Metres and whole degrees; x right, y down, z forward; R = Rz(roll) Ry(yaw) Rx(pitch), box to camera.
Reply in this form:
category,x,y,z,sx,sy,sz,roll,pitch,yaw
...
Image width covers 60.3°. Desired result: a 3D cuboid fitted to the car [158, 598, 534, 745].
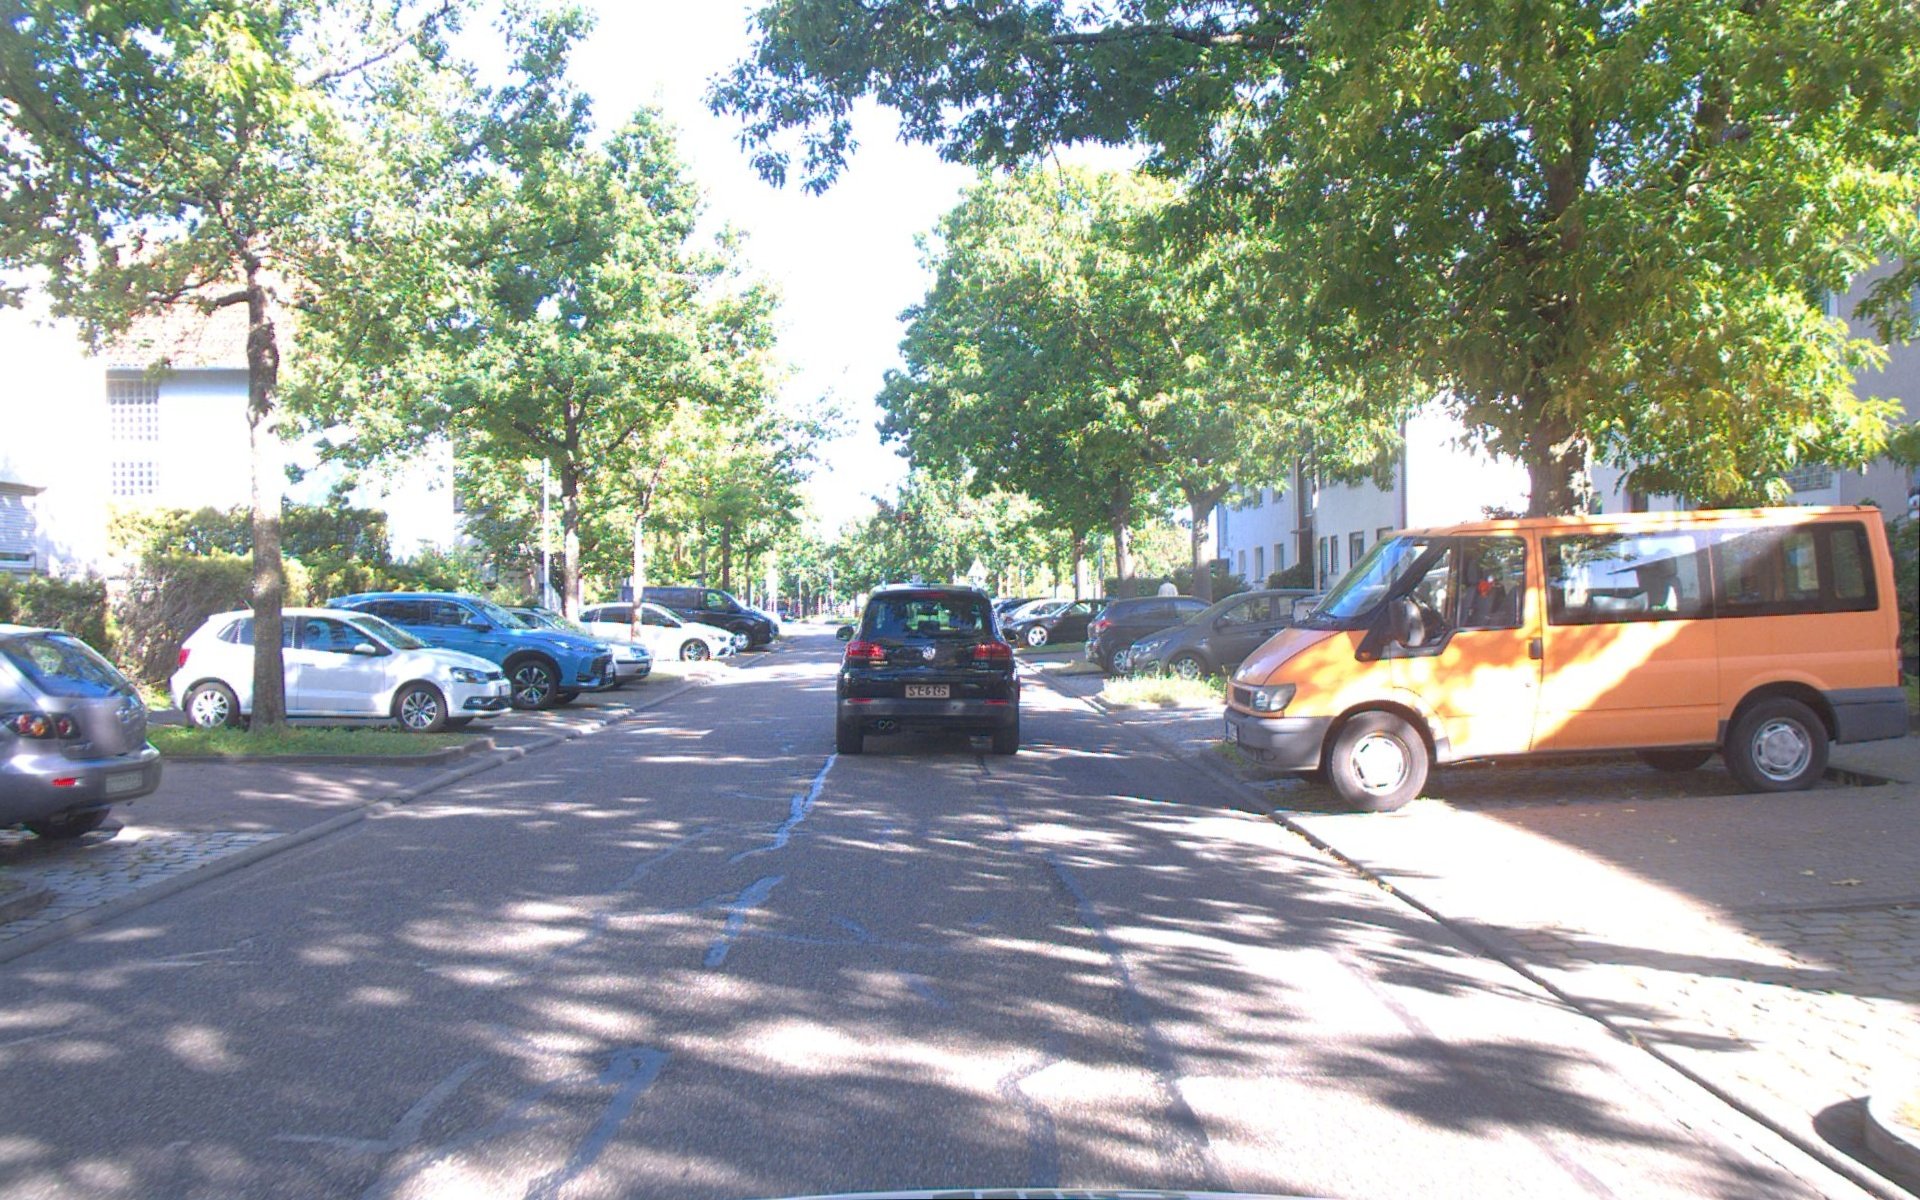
category,x,y,z,sx,sy,sz,roll,pitch,yaw
car,-7.453,0.855,20.364,3.906,1.623,1.857,-1,-1,-1

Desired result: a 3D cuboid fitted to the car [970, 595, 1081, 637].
category,x,y,z,sx,sy,sz,roll,pitch,yaw
car,2.638,0.647,66.980,4.339,1.517,1.796,-2,0,-2

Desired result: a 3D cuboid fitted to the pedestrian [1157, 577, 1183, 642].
category,x,y,z,sx,sy,sz,roll,pitch,yaw
pedestrian,6.292,0.286,49.553,0.595,1.906,0.923,-1,-1,0

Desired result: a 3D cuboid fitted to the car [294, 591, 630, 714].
category,x,y,z,sx,sy,sz,roll,pitch,yaw
car,-7.384,0.769,24.847,4.432,1.660,1.937,-1,-1,-1

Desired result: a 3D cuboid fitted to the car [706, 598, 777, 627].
category,x,y,z,sx,sy,sz,roll,pitch,yaw
car,-13.233,0.743,100.435,4.161,1.651,1.894,-1,-1,-7

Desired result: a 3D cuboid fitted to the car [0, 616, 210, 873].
category,x,y,z,sx,sy,sz,roll,pitch,yaw
car,-7.143,0.826,10.442,3.953,1.448,1.809,1,0,-3

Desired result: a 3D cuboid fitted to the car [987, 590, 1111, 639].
category,x,y,z,sx,sy,sz,roll,pitch,yaw
car,3.100,0.500,58.274,4.190,1.529,1.796,-2,0,-2

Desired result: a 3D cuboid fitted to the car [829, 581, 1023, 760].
category,x,y,z,sx,sy,sz,roll,pitch,yaw
car,-0.288,0.662,17.423,1.800,1.665,3.958,0,0,1

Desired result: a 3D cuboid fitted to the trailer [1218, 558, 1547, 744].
category,x,y,z,sx,sy,sz,roll,pitch,yaw
trailer,4.382,0.517,17.386,2.890,1.693,1.612,-3,-1,-7

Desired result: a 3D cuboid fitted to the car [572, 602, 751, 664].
category,x,y,z,sx,sy,sz,roll,pitch,yaw
car,-7.432,0.806,41.519,4.189,1.504,1.768,0,0,-2

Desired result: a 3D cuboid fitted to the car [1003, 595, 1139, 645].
category,x,y,z,sx,sy,sz,roll,pitch,yaw
car,3.541,0.634,53.325,4.190,1.439,1.796,-2,0,-2

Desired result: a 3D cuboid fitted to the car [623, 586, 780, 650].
category,x,y,z,sx,sy,sz,roll,pitch,yaw
car,-8.076,0.546,51.963,4.684,1.950,2.017,0,0,-4

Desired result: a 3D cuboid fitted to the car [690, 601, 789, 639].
category,x,y,z,sx,sy,sz,roll,pitch,yaw
car,-8.882,0.794,66.889,3.779,1.484,1.713,0,0,-2

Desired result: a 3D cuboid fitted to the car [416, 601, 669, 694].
category,x,y,z,sx,sy,sz,roll,pitch,yaw
car,-7.408,0.842,29.620,4.097,1.518,1.646,-1,-1,-1

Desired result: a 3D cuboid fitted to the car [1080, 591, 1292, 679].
category,x,y,z,sx,sy,sz,roll,pitch,yaw
car,4.307,0.665,31.888,3.803,1.542,1.660,-1,-1,-1

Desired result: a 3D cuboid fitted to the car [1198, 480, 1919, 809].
category,x,y,z,sx,sy,sz,roll,pitch,yaw
car,4.371,0.305,12.667,4.721,2.119,2.086,-2,0,-1

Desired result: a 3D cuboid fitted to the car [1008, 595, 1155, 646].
category,x,y,z,sx,sy,sz,roll,pitch,yaw
car,3.671,0.629,50.526,4.259,1.386,1.872,-2,-1,-3

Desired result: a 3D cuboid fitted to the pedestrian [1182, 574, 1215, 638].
category,x,y,z,sx,sy,sz,roll,pitch,yaw
pedestrian,7.150,0.182,49.585,0.818,1.860,0.710,-1,-1,0

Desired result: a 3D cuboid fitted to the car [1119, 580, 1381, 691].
category,x,y,z,sx,sy,sz,roll,pitch,yaw
car,4.662,0.566,26.974,3.906,1.652,1.757,-1,-1,-1

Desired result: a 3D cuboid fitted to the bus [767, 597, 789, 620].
category,x,y,z,sx,sy,sz,roll,pitch,yaw
bus,-25.191,1.138,229.037,2.872,3.056,5.729,-1,-1,-6
